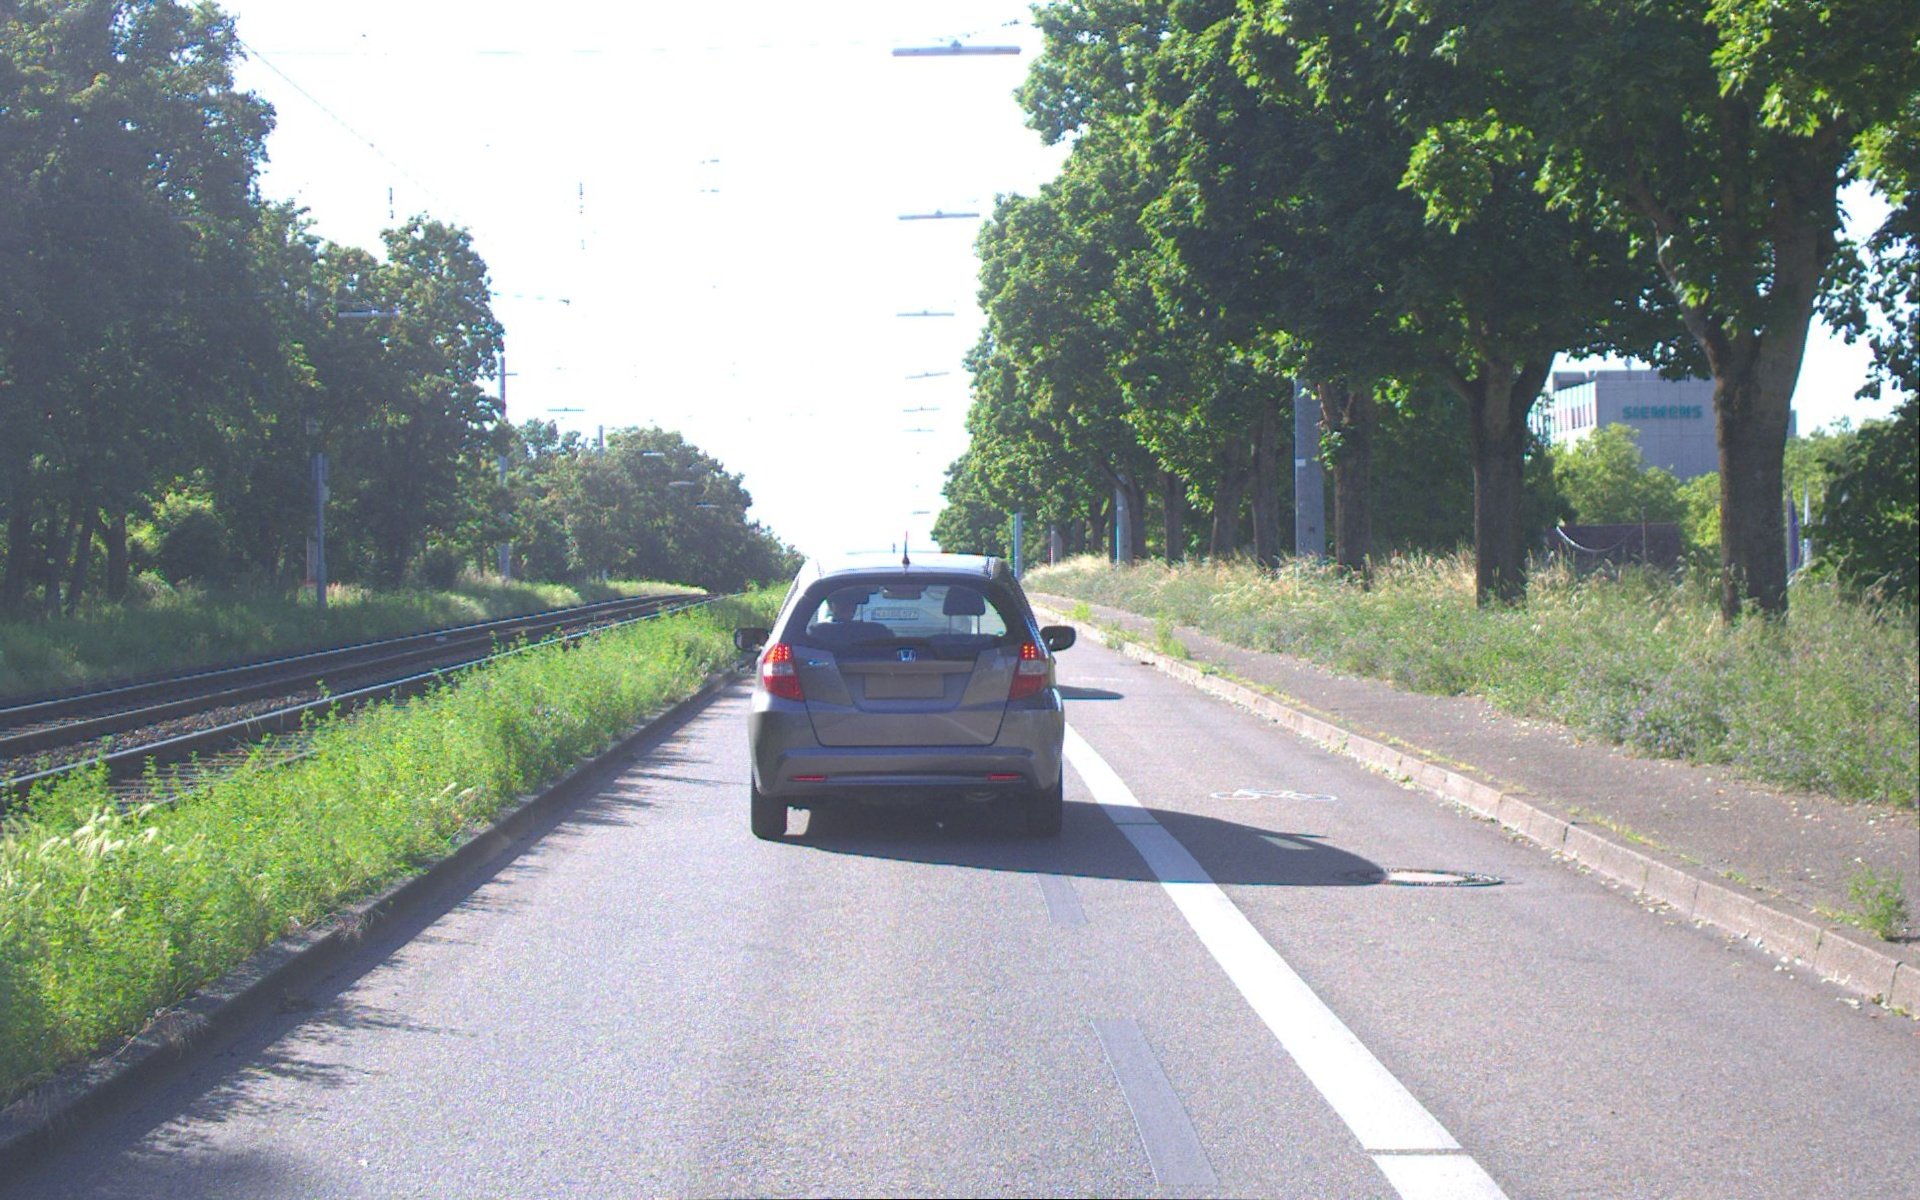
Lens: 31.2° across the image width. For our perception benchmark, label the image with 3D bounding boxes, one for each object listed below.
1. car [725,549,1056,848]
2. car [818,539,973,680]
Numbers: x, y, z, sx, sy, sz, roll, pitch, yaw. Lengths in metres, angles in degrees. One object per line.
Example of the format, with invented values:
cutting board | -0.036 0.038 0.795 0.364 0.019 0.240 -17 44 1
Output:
car | -0.359 0.483 19.420 1.670 1.502 3.811 1 0 0
car | -0.705 0.082 39.104 1.654 1.502 3.811 1 0 0
